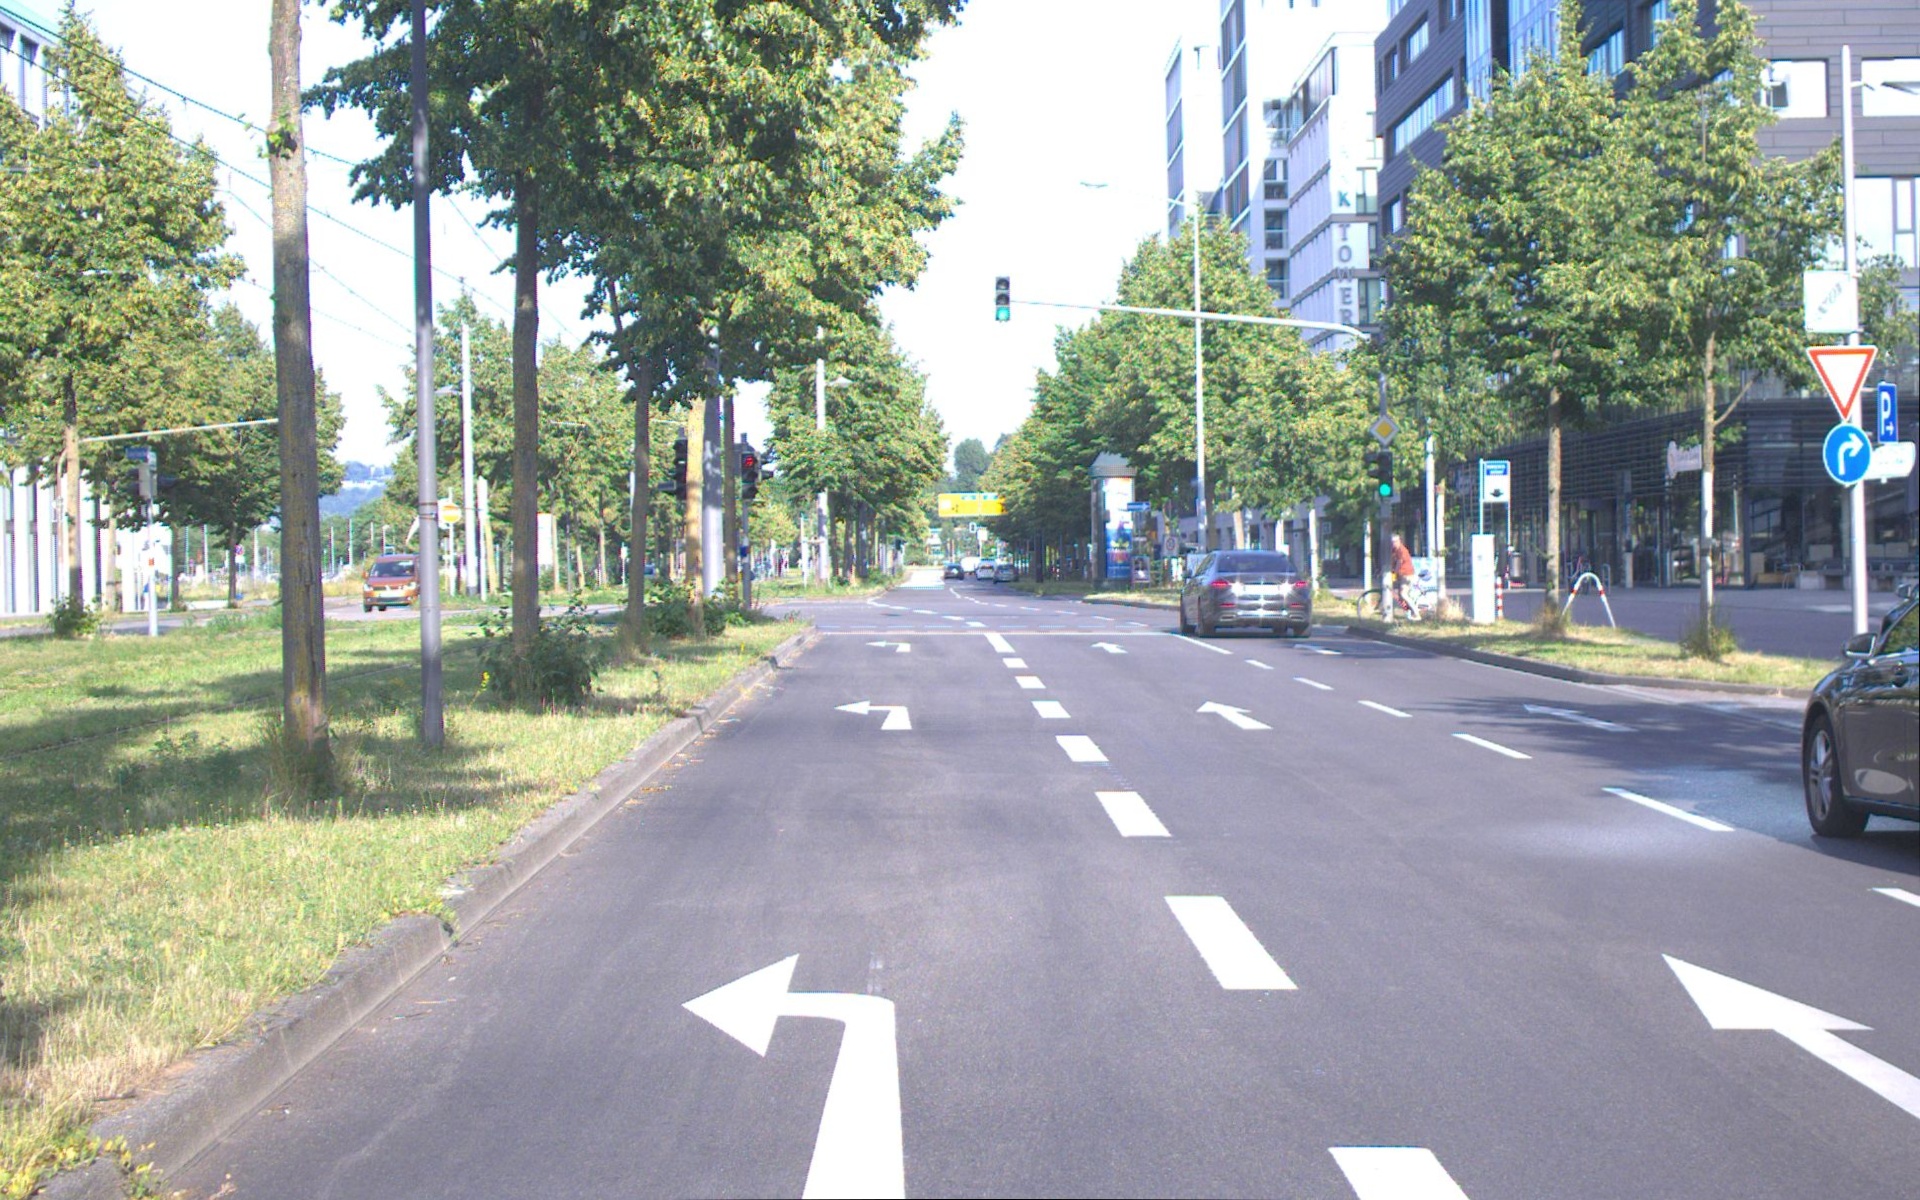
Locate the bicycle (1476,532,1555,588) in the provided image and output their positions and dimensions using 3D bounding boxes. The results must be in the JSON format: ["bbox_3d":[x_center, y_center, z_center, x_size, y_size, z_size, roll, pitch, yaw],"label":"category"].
[{"bbox_3d":[17.558,-1.258,108.603,2.436,1.740,0.554,1,0,9],"label":"bicycle"}]

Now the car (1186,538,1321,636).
[{"bbox_3d":[4.796,-0.220,56.616,1.859,1.519,3.785,1,0,0],"label":"car"}]

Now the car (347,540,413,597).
[{"bbox_3d":[-18.532,-1.018,109.929,1.684,1.769,3.883,1,0,-4],"label":"car"}]

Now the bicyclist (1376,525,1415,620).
[{"bbox_3d":[7.857,-0.491,62.065,0.574,1.701,0.541,1,0,-5],"label":"bicyclist"}]

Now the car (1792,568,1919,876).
[{"bbox_3d":[5.316,0.572,16.272,1.774,1.419,3.961,1,0,0],"label":"car"}]

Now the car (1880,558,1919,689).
[{"bbox_3d":[10.760,0.254,35.625,1.607,1.366,4.157,1,0,4],"label":"car"}]

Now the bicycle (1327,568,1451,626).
[{"bbox_3d":[7.735,-0.053,62.058,2.134,1.009,0.571,1,0,-4],"label":"bicycle"}]
